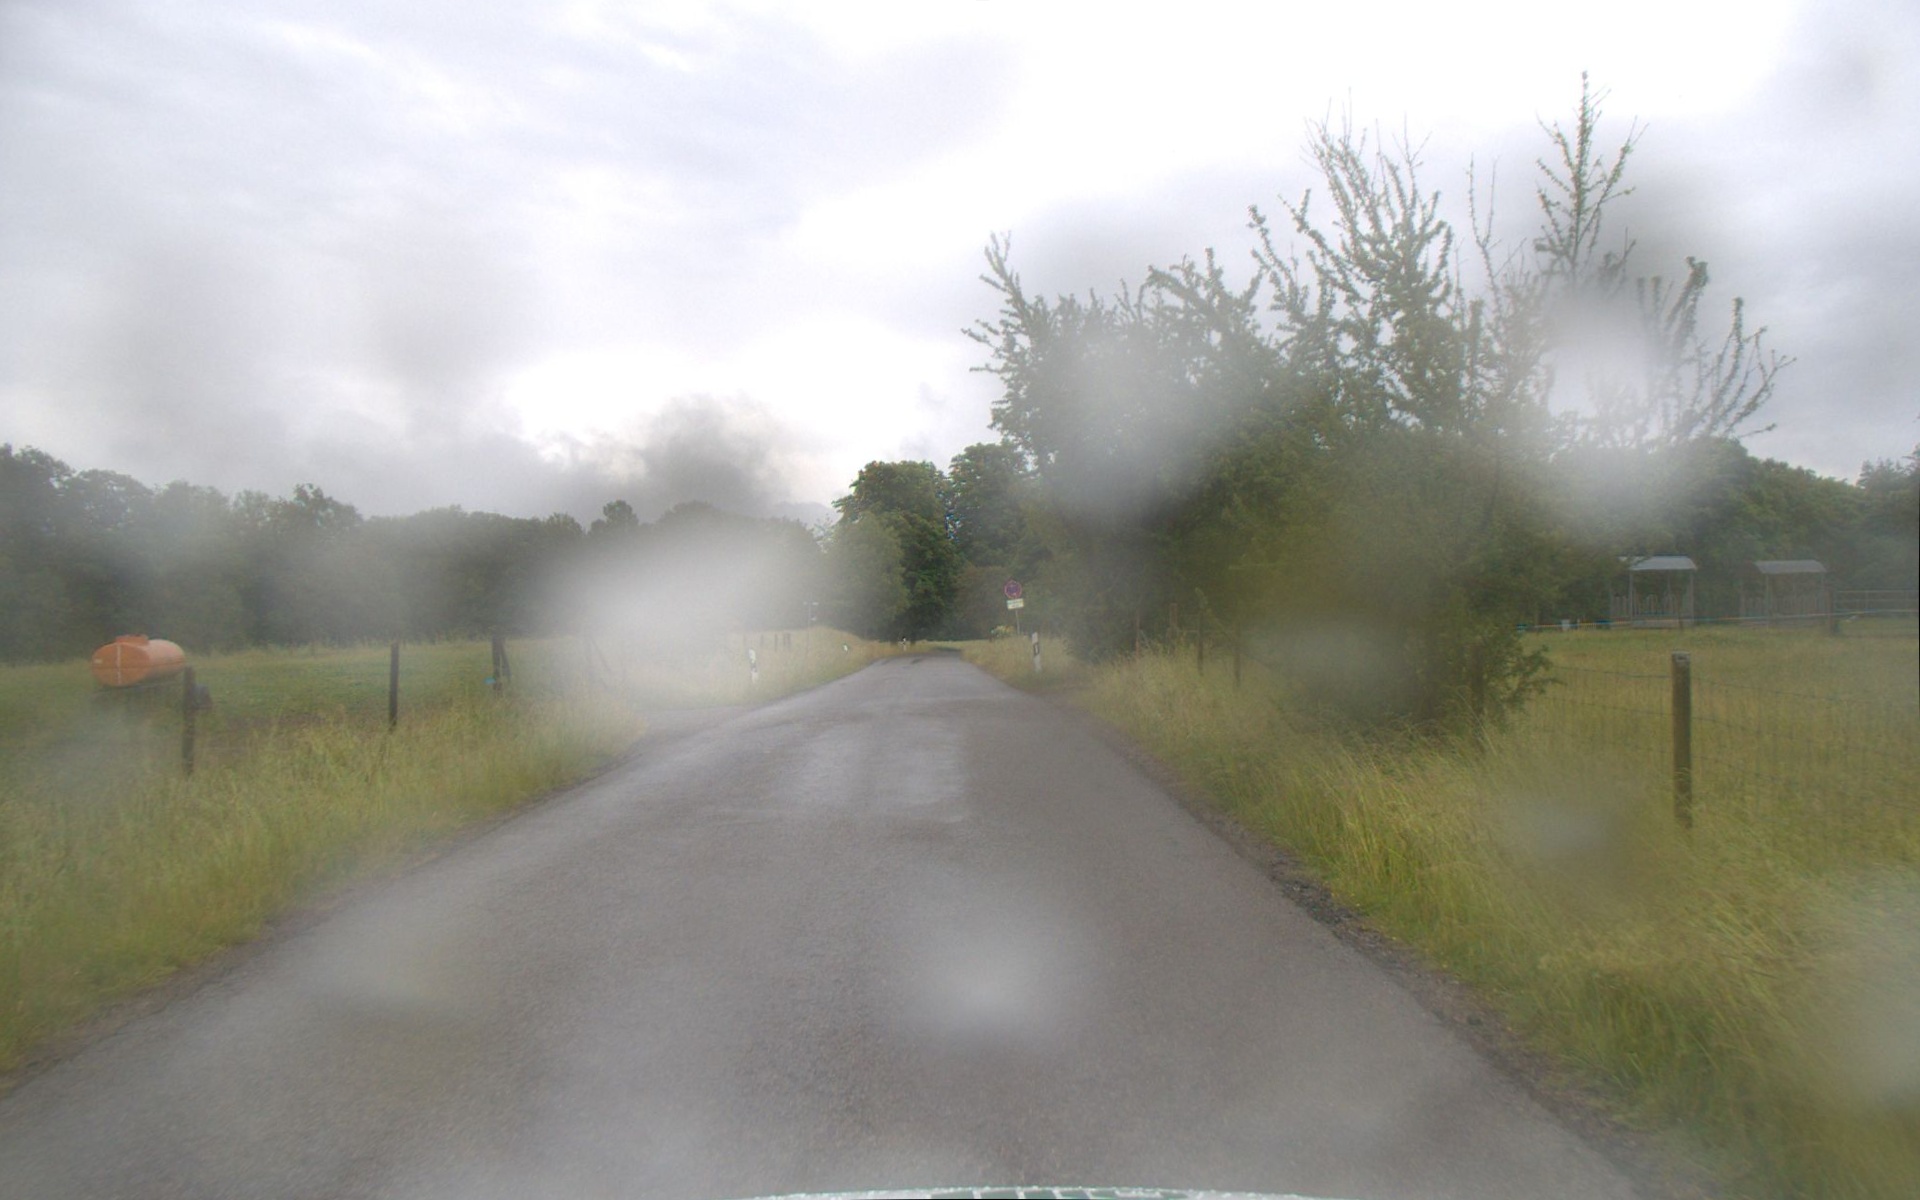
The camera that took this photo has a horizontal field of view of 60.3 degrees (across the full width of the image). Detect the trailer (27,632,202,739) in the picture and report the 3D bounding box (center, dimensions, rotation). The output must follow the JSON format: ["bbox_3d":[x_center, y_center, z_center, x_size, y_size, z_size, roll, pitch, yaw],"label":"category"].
[{"bbox_3d":[-13.756,1.345,27.089,1.720,1.531,3.081,-2,0,-11],"label":"trailer"}]
